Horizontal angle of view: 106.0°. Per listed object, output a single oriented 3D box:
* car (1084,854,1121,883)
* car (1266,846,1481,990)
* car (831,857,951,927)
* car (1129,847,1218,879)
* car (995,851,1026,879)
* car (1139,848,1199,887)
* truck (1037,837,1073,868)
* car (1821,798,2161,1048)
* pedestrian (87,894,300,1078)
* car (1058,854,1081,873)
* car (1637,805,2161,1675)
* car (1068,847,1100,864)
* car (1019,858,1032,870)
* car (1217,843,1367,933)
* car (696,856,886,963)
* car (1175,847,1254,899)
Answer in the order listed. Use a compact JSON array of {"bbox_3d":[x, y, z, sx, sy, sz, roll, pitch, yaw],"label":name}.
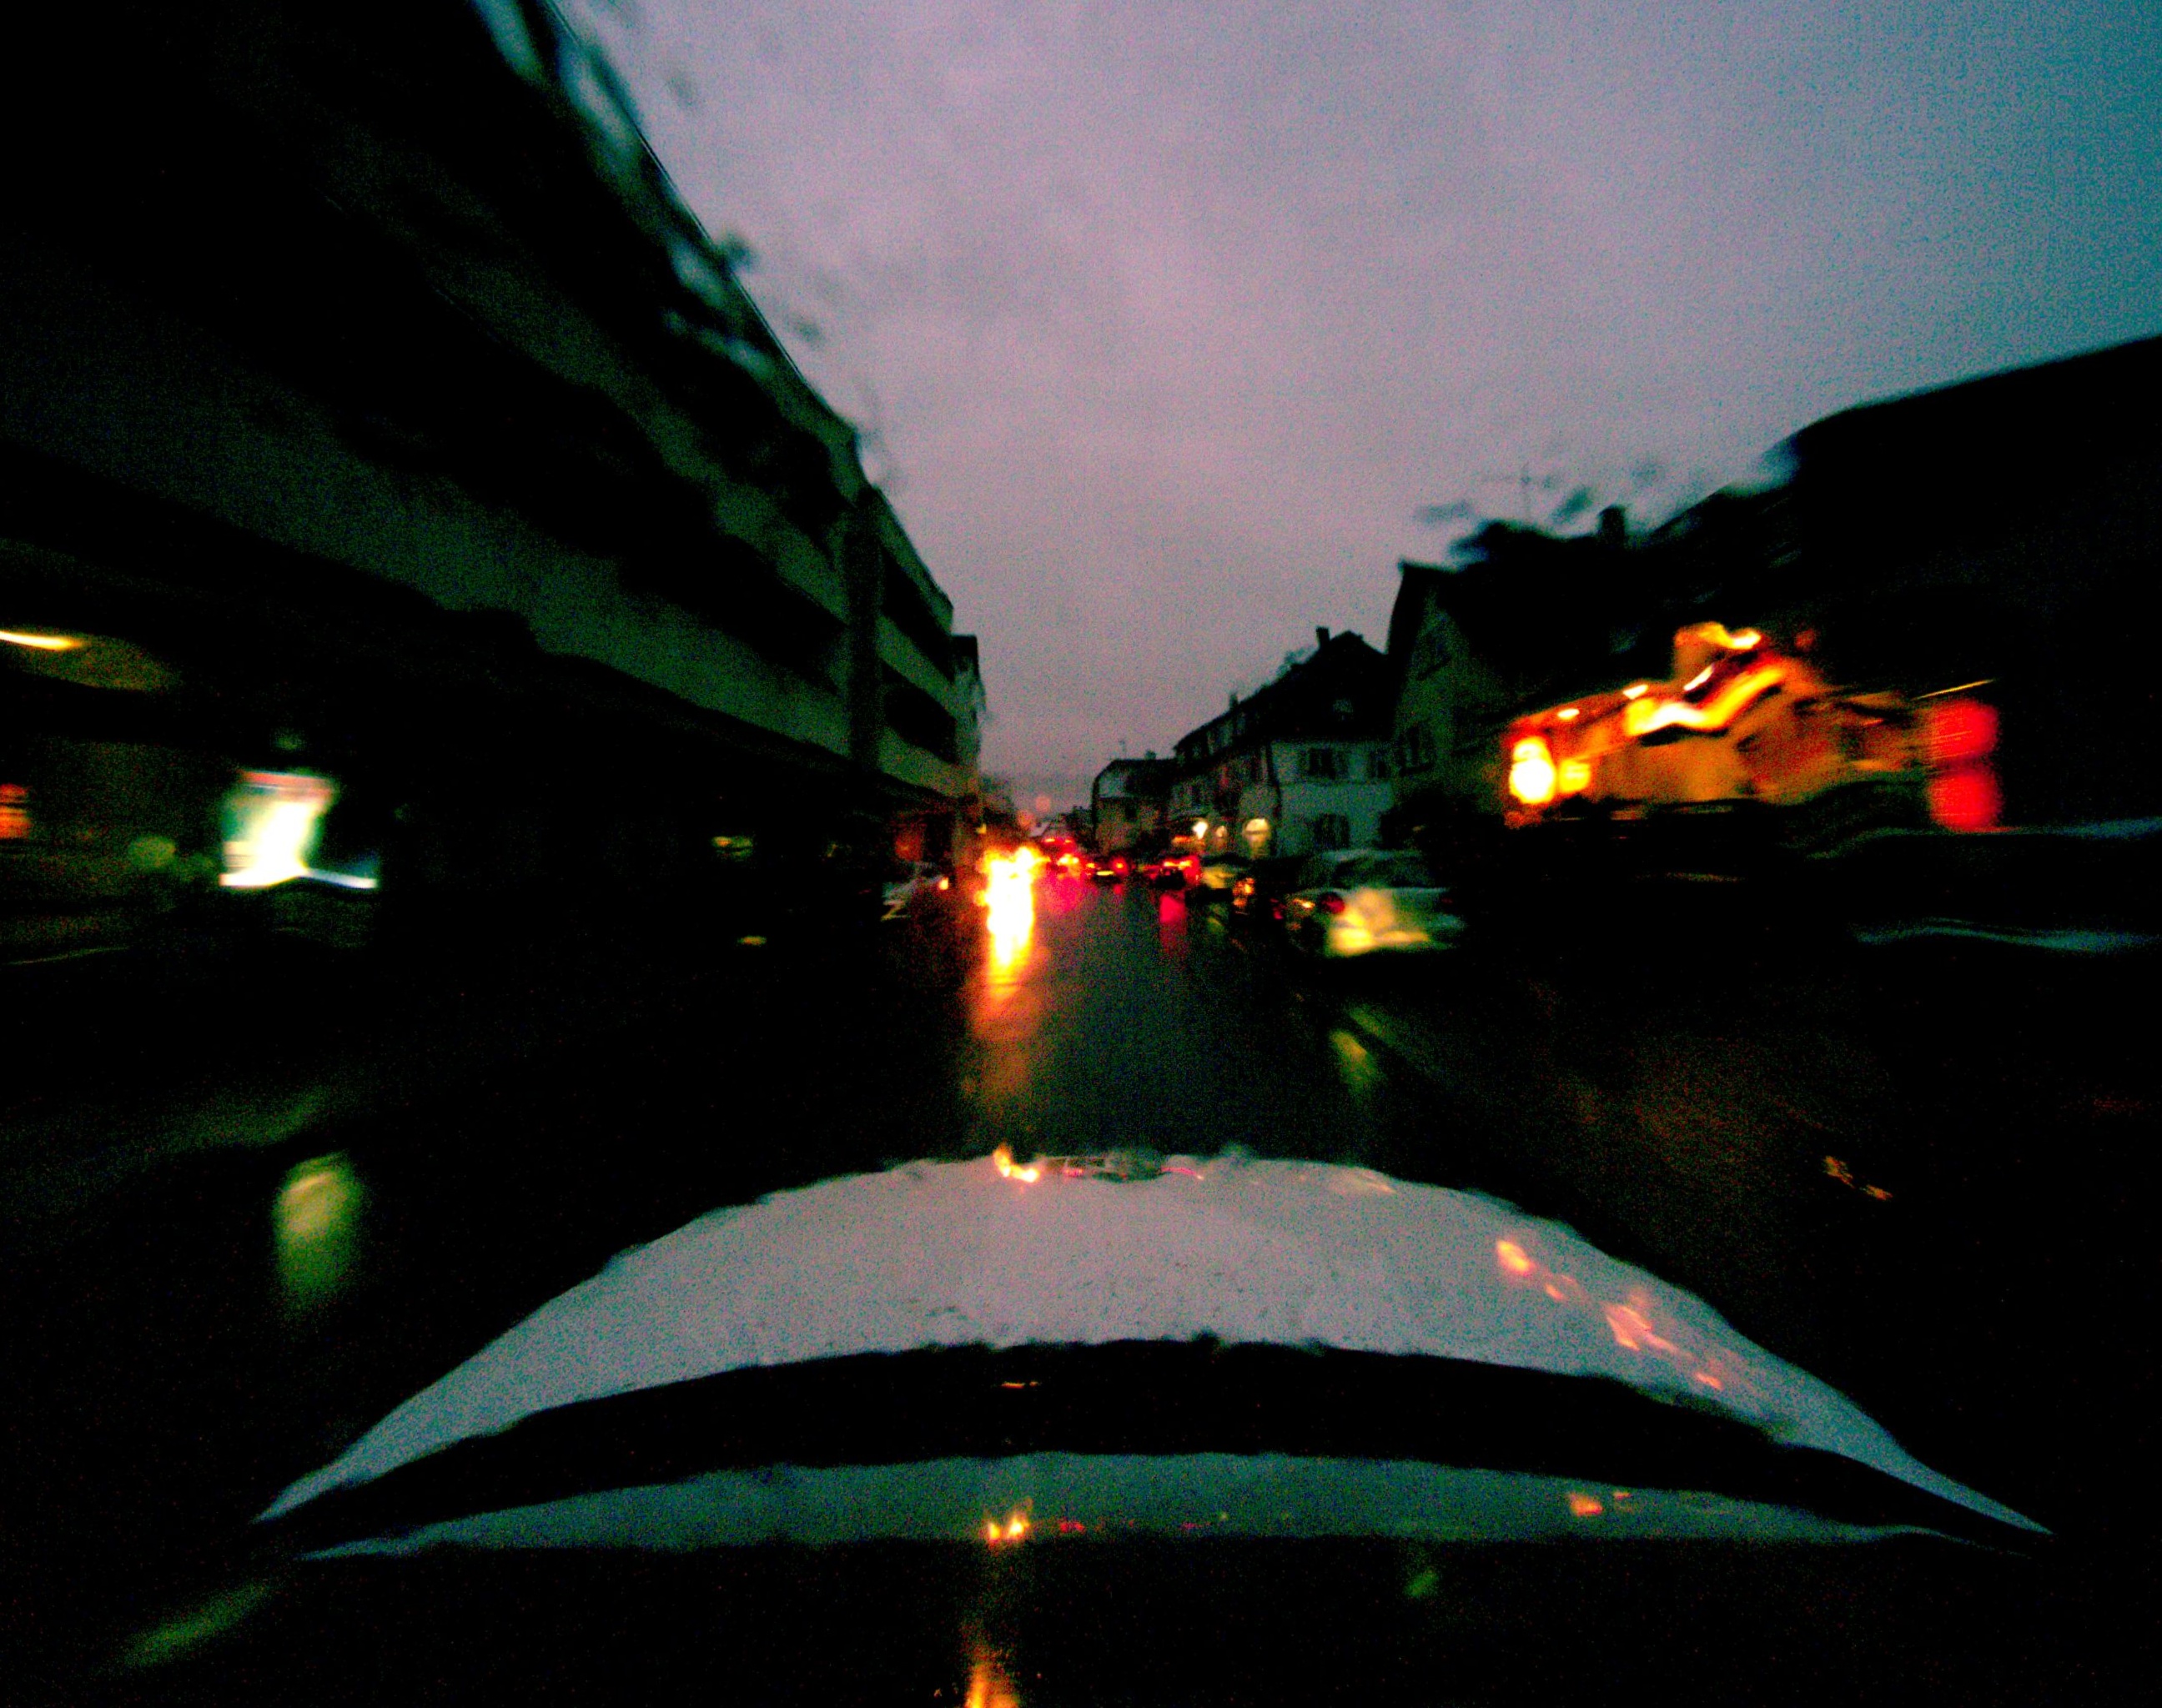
[{"bbox_3d":[1.092,0.759,43.317,1.635,1.481,3.373,0,0,-5],"label":"car"},{"bbox_3d":[3.544,0.682,10.576,1.619,1.441,3.804,-4,0,5],"label":"car"},{"bbox_3d":[-4.325,0.800,19.235,1.669,1.446,4.429,0,0,1],"label":"car"},{"bbox_3d":[4.977,0.459,44.154,4.462,1.473,1.893,-3,0,-7],"label":"car"},{"bbox_3d":[-4.280,0.633,49.427,1.791,1.642,3.805,0,0,-5],"label":"car"},{"bbox_3d":[3.786,0.548,35.908,1.878,1.547,4.666,-3,0,-3],"label":"car"},{"bbox_3d":[-2.879,-0.178,86.036,3.013,3.128,7.979,0,0,-8],"label":"truck"},{"bbox_3d":[7.737,0.343,5.810,3.278,1.441,1.687,-5,-1,1],"label":"car"},{"bbox_3d":[-6.911,0.988,6.393,0.753,1.310,0.828,0,0,1],"label":"pedestrian"},{"bbox_3d":[-0.952,0.757,65.652,1.636,1.481,3.264,0,0,-6],"label":"car"},{"bbox_3d":[2.742,0.651,0.535,1.758,1.526,4.391,-4,0,1],"label":"car"},{"bbox_3d":[0.419,0.188,105.887,4.082,2.163,1.914,-1,0,1],"label":"car"},{"bbox_3d":[-7.827,1.373,114.509,1.635,1.535,3.400,-1,0,-5],"label":"car"},{"bbox_3d":[3.972,0.582,16.156,1.816,1.423,4.610,-4,0,1],"label":"car"},{"bbox_3d":[-4.682,0.802,13.790,1.608,1.533,3.932,0,0,3],"label":"car"},{"bbox_3d":[4.316,0.578,26.908,1.789,1.460,4.529,-3,0,0],"label":"car"}]
